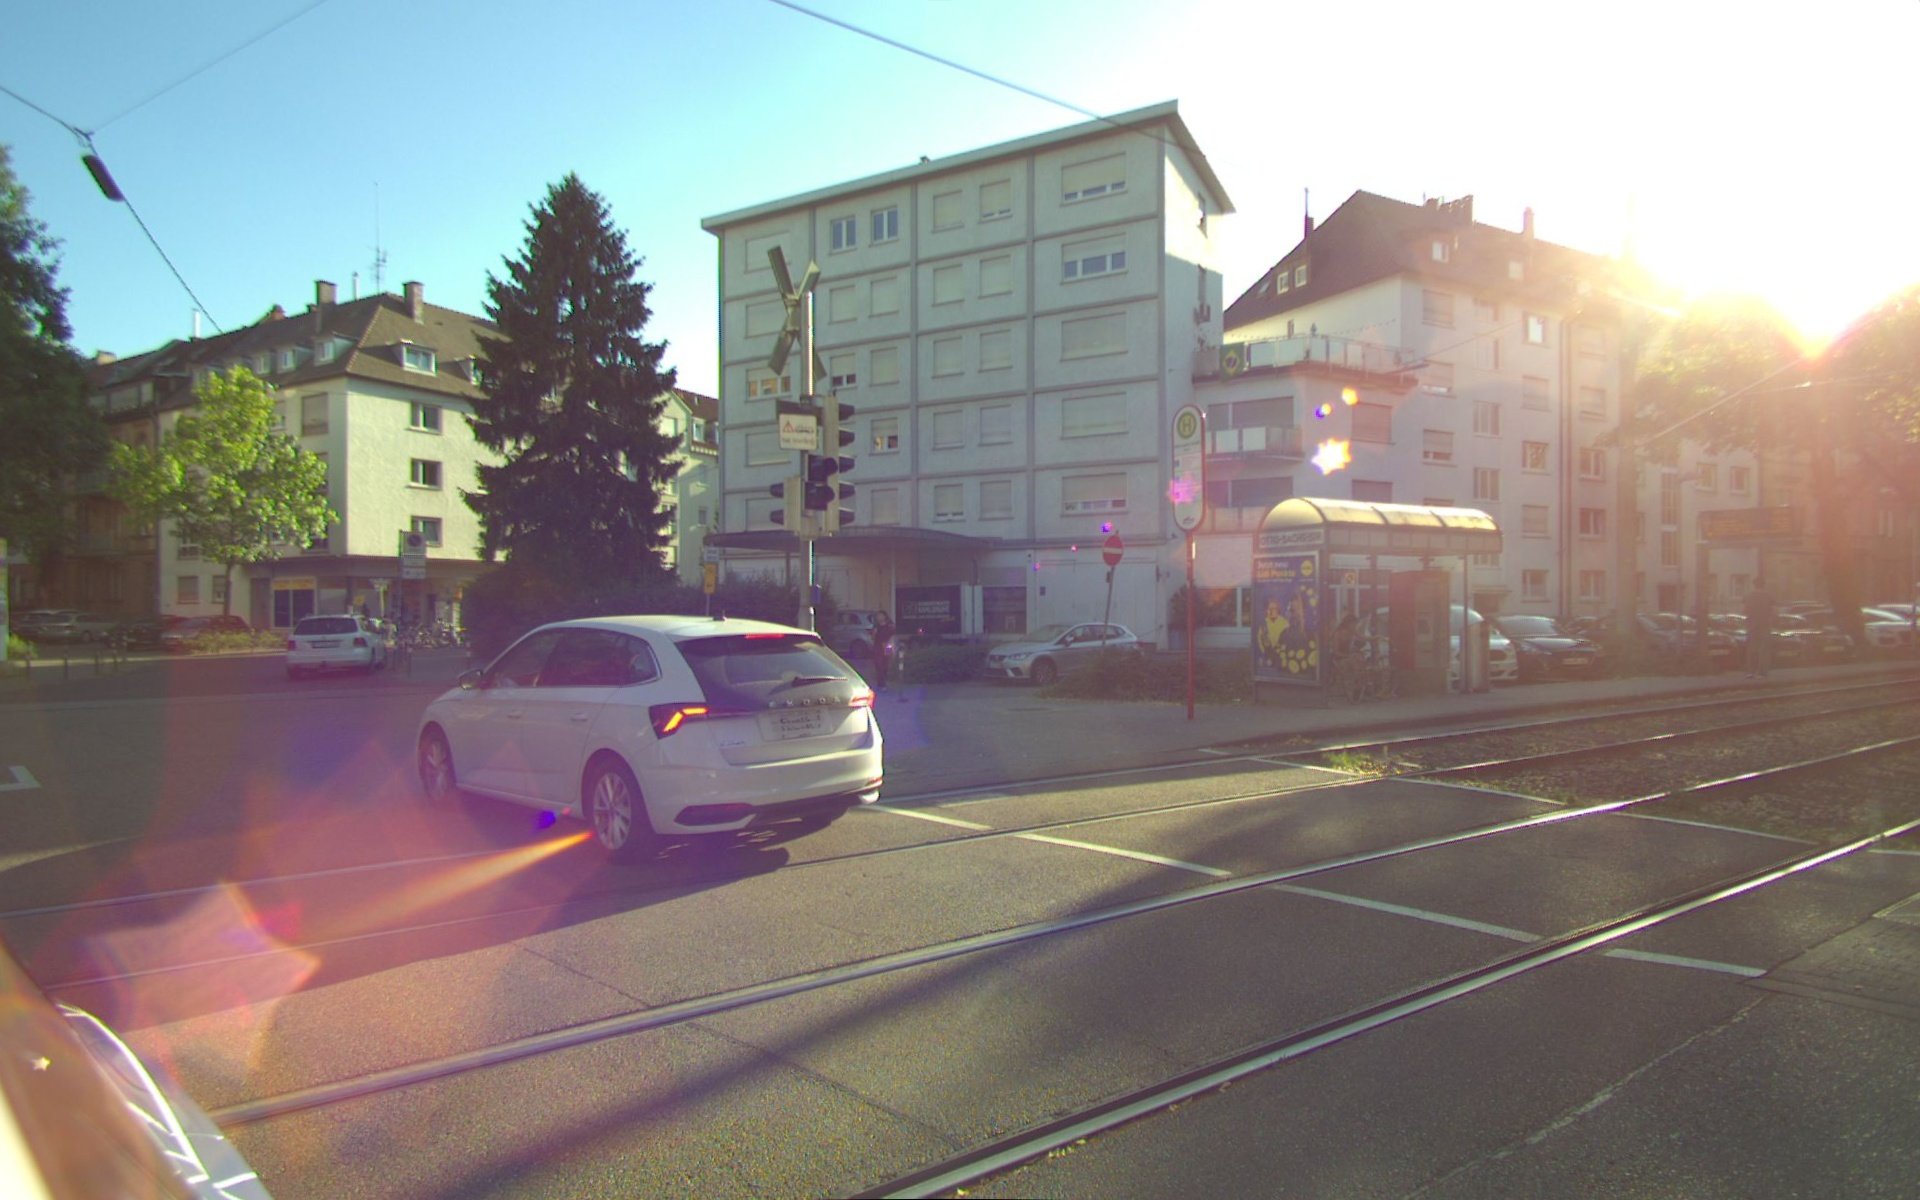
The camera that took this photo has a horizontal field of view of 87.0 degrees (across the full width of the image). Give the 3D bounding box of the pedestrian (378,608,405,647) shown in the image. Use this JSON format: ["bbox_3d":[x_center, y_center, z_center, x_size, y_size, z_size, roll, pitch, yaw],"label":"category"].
[{"bbox_3d":[-27.975,1.328,49.796,0.848,1.889,0.882,-1,-1,29],"label":"pedestrian"}]

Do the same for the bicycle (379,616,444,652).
[{"bbox_3d":[-23.149,1.412,42.673,3.368,1.456,0.872,0,0,32],"label":"bicycle"}]

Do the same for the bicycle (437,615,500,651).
[{"bbox_3d":[-22.199,1.461,45.686,3.368,1.456,0.872,1,0,32],"label":"bicycle"}]

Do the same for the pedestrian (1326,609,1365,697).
[{"bbox_3d":[5.844,0.788,15.345,0.444,1.311,0.339,0,-1,-30],"label":"pedestrian"}]

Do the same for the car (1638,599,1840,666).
[{"bbox_3d":[19.660,0.890,25.817,1.584,1.470,4.243,-2,-4,-3],"label":"car"}]

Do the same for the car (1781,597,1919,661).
[{"bbox_3d":[26.734,0.904,29.895,1.837,1.664,4.229,-3,-4,9],"label":"car"}]

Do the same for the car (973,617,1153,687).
[{"bbox_3d":[2.440,1.174,23.738,3.932,1.457,1.721,0,-2,-32],"label":"car"}]

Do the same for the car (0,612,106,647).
[{"bbox_3d":[-46.146,1.471,51.592,1.847,1.648,4.000,-1,-1,-1],"label":"car"}]

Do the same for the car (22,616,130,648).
[{"bbox_3d":[-43.453,1.549,49.875,1.847,1.516,4.000,-1,-1,-1],"label":"car"}]

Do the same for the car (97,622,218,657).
[{"bbox_3d":[-35.590,1.721,45.028,1.854,1.410,3.985,-1,-1,11],"label":"car"}]

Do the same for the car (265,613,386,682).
[{"bbox_3d":[-15.283,1.088,24.595,1.890,1.461,4.310,-1,0,-24],"label":"car"}]

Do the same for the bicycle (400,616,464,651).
[{"bbox_3d":[-22.844,1.422,43.778,3.368,1.456,0.872,0,0,32],"label":"bicycle"}]

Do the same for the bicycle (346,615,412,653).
[{"bbox_3d":[-23.870,1.377,41.557,3.368,1.456,0.872,0,0,32],"label":"bicycle"}]

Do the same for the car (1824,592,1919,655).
[{"bbox_3d":[29.042,0.729,30.991,1.837,1.762,4.229,-3,-4,9],"label":"car"}]

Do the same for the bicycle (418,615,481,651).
[{"bbox_3d":[-22.619,1.451,44.832,3.368,1.456,0.872,1,0,32],"label":"bicycle"}]

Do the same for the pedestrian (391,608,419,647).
[{"bbox_3d":[-27.133,1.343,49.455,0.848,1.889,0.882,-1,-1,29],"label":"pedestrian"}]

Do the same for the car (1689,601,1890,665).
[{"bbox_3d":[21.894,0.949,26.981,1.584,1.470,4.243,-2,-4,-3],"label":"car"}]

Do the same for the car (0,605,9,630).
[{"bbox_3d":[-56.193,0.994,56.828,1.847,1.410,4.000,-1,-1,-1],"label":"car"}]

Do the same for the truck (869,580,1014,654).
[{"bbox_3d":[-0.704,0.619,36.900,4.950,2.554,1.980,-1,-1,29],"label":"truck"}]

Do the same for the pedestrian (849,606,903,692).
[{"bbox_3d":[-1.757,0.998,21.155,0.856,1.749,0.833,0,0,-28],"label":"pedestrian"}]

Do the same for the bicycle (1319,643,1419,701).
[{"bbox_3d":[6.061,1.048,14.976,1.615,0.789,0.452,0,-1,-29],"label":"bicycle"}]

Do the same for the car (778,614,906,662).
[{"bbox_3d":[-4.028,1.259,34.328,3.987,1.544,1.978,-1,-1,33],"label":"car"}]

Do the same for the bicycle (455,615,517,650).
[{"bbox_3d":[-21.729,1.477,46.403,3.368,1.456,0.872,1,0,32],"label":"bicycle"}]

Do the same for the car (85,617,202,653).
[{"bbox_3d":[-38.039,1.603,47.276,1.855,1.580,3.982,-1,-1,14],"label":"car"}]

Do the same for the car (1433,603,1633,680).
[{"bbox_3d":[12.100,0.960,21.740,1.676,1.448,4.207,-2,-4,-2],"label":"car"}]

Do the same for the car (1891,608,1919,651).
[{"bbox_3d":[34.646,0.915,34.484,1.832,1.484,4.239,-2,-4,1],"label":"car"}]

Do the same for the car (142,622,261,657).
[{"bbox_3d":[-33.209,1.720,44.431,1.854,1.410,3.985,-1,-1,11],"label":"car"}]

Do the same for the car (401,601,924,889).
[{"bbox_3d":[-2.296,0.784,7.155,4.061,1.468,1.684,-2,-1,42],"label":"car"}]

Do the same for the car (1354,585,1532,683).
[{"bbox_3d":[9.330,0.756,19.961,1.587,1.665,4.236,-2,-4,3],"label":"car"}]

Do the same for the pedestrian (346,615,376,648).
[{"bbox_3d":[-28.988,1.510,48.999,0.887,1.581,0.954,-1,-1,30],"label":"pedestrian"}]

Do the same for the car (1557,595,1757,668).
[{"bbox_3d":[16.533,0.837,24.310,1.584,1.519,4.243,-2,-4,-3],"label":"car"}]

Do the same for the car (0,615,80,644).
[{"bbox_3d":[-48.626,1.515,52.911,1.847,1.410,4.000,-1,-1,-1],"label":"car"}]

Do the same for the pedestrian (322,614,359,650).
[{"bbox_3d":[-29.234,1.486,47.786,0.960,1.679,1.203,-1,-1,29],"label":"pedestrian"}]

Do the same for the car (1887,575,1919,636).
[{"bbox_3d":[48.829,0.240,49.901,5.386,2.909,2.569,-1,-2,-25],"label":"car"}]

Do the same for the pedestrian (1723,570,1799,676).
[{"bbox_3d":[15.110,0.428,19.090,0.823,1.925,0.853,0,-1,-31],"label":"pedestrian"}]
